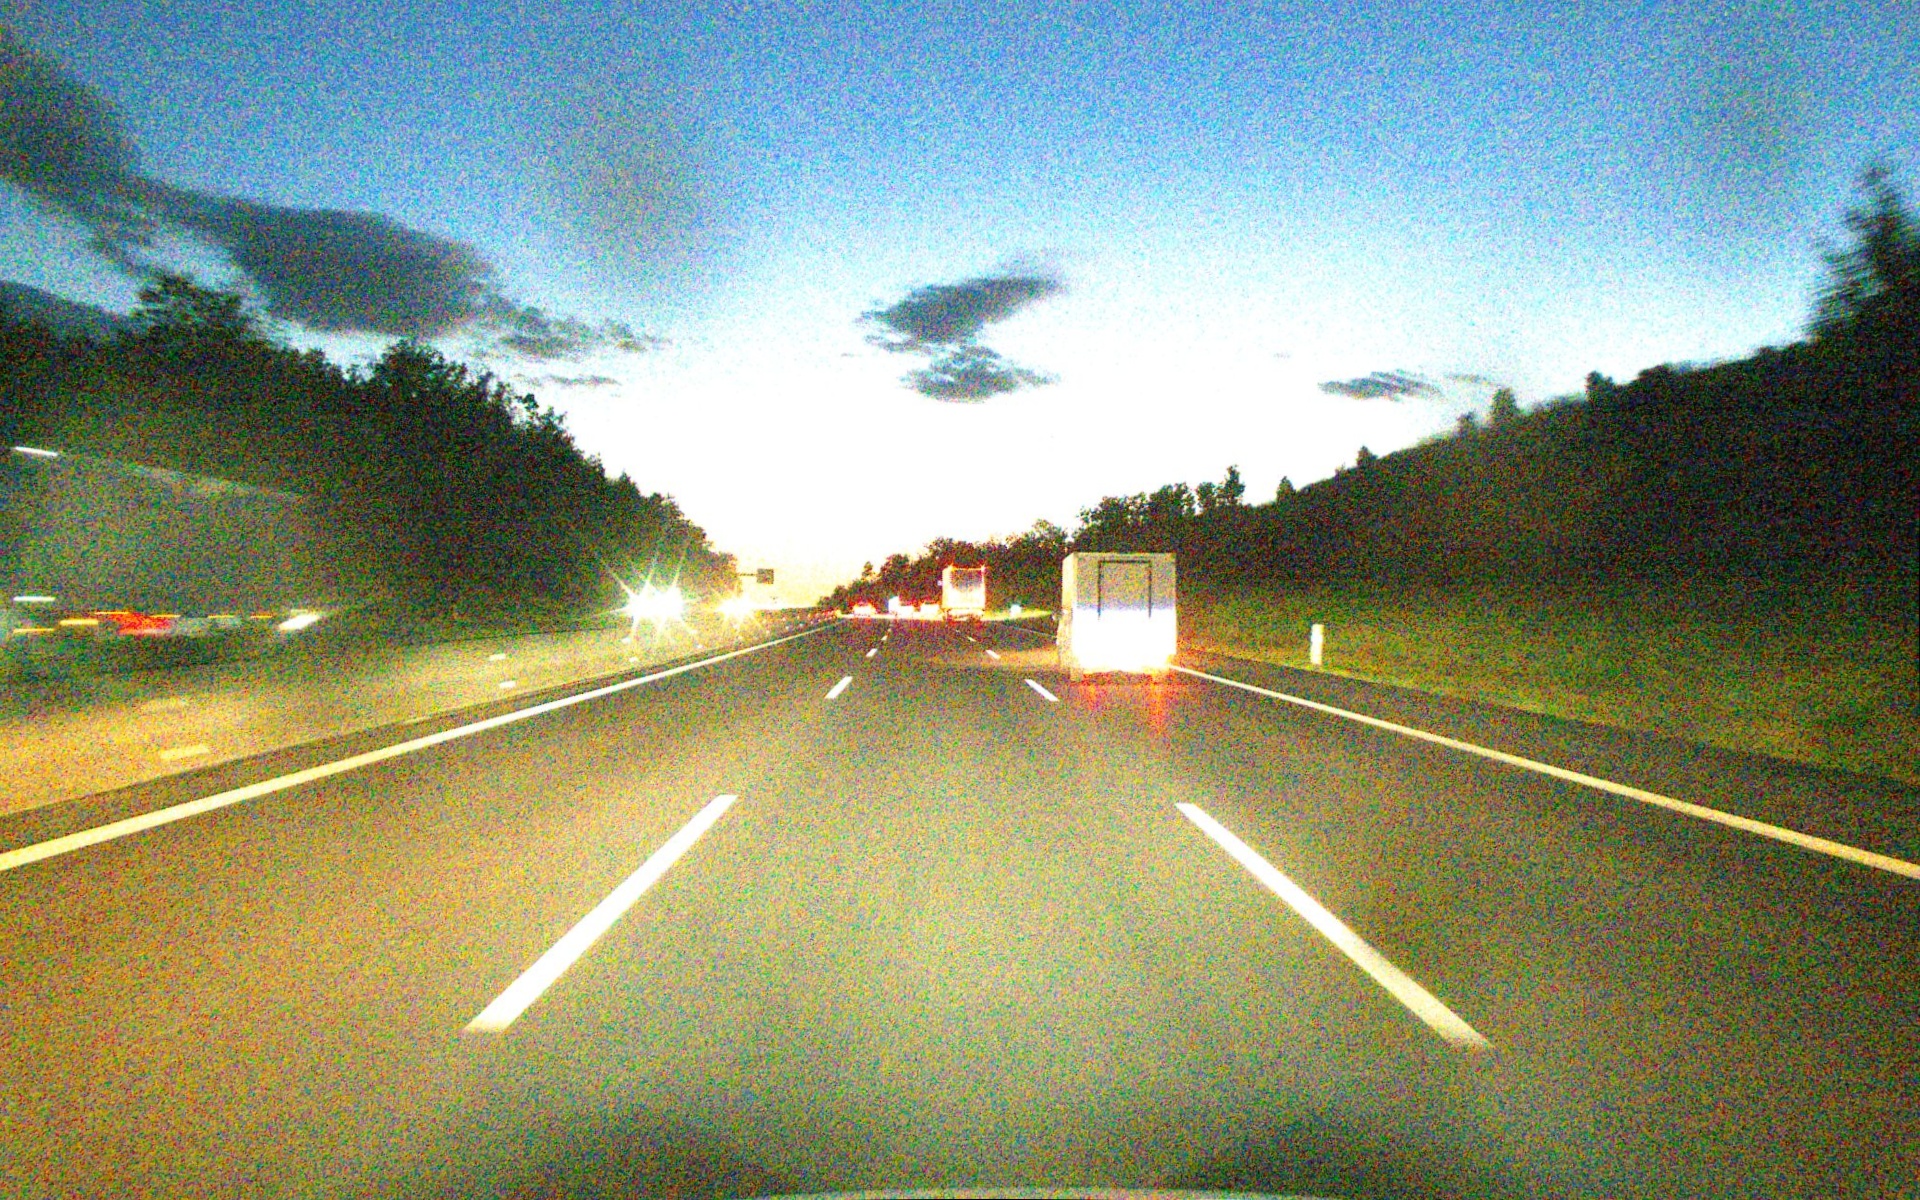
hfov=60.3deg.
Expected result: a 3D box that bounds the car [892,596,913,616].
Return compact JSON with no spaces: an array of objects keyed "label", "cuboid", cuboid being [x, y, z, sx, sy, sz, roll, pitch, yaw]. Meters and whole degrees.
[{"label":"car","cuboid":[-5.643,0.637,162.102,1.953,1.825,3.999,0,-2,0]}]

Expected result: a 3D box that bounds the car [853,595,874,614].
[{"label":"car","cuboid":[-9.803,0.439,167.912,1.954,1.825,3.995,1,-2,-5]}]

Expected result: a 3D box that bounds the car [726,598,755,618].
[{"label":"car","cuboid":[-19.784,0.717,149.285,2.199,1.697,4.886,0,0,-3]}]

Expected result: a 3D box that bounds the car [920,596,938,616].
[{"label":"car","cuboid":[-3.486,0.683,187.292,1.953,2.154,3.998,1,-2,-2]}]

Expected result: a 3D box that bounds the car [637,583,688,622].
[{"label":"car","cuboid":[-16.980,0.151,94.661,2.200,2.138,5.710,0,0,-4]}]

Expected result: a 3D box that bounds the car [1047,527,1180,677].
[{"label":"car","cuboid":[2.931,0.044,32.750,1.991,2.693,5.723,0,0,-1]}]

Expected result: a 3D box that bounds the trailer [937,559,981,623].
[{"label":"trailer","cuboid":[-0.176,-0.518,129.053,2.772,4.332,17.038,1,-2,-2]}]

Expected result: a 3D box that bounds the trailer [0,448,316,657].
[{"label":"trailer","cuboid":[-19.207,-0.933,39.129,2.796,4.050,13.882,0,0,-1]}]

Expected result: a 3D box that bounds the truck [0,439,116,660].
[{"label":"truck","cuboid":[-19.032,-0.943,31.665,2.796,4.050,5.858,0,0,-1]}]
